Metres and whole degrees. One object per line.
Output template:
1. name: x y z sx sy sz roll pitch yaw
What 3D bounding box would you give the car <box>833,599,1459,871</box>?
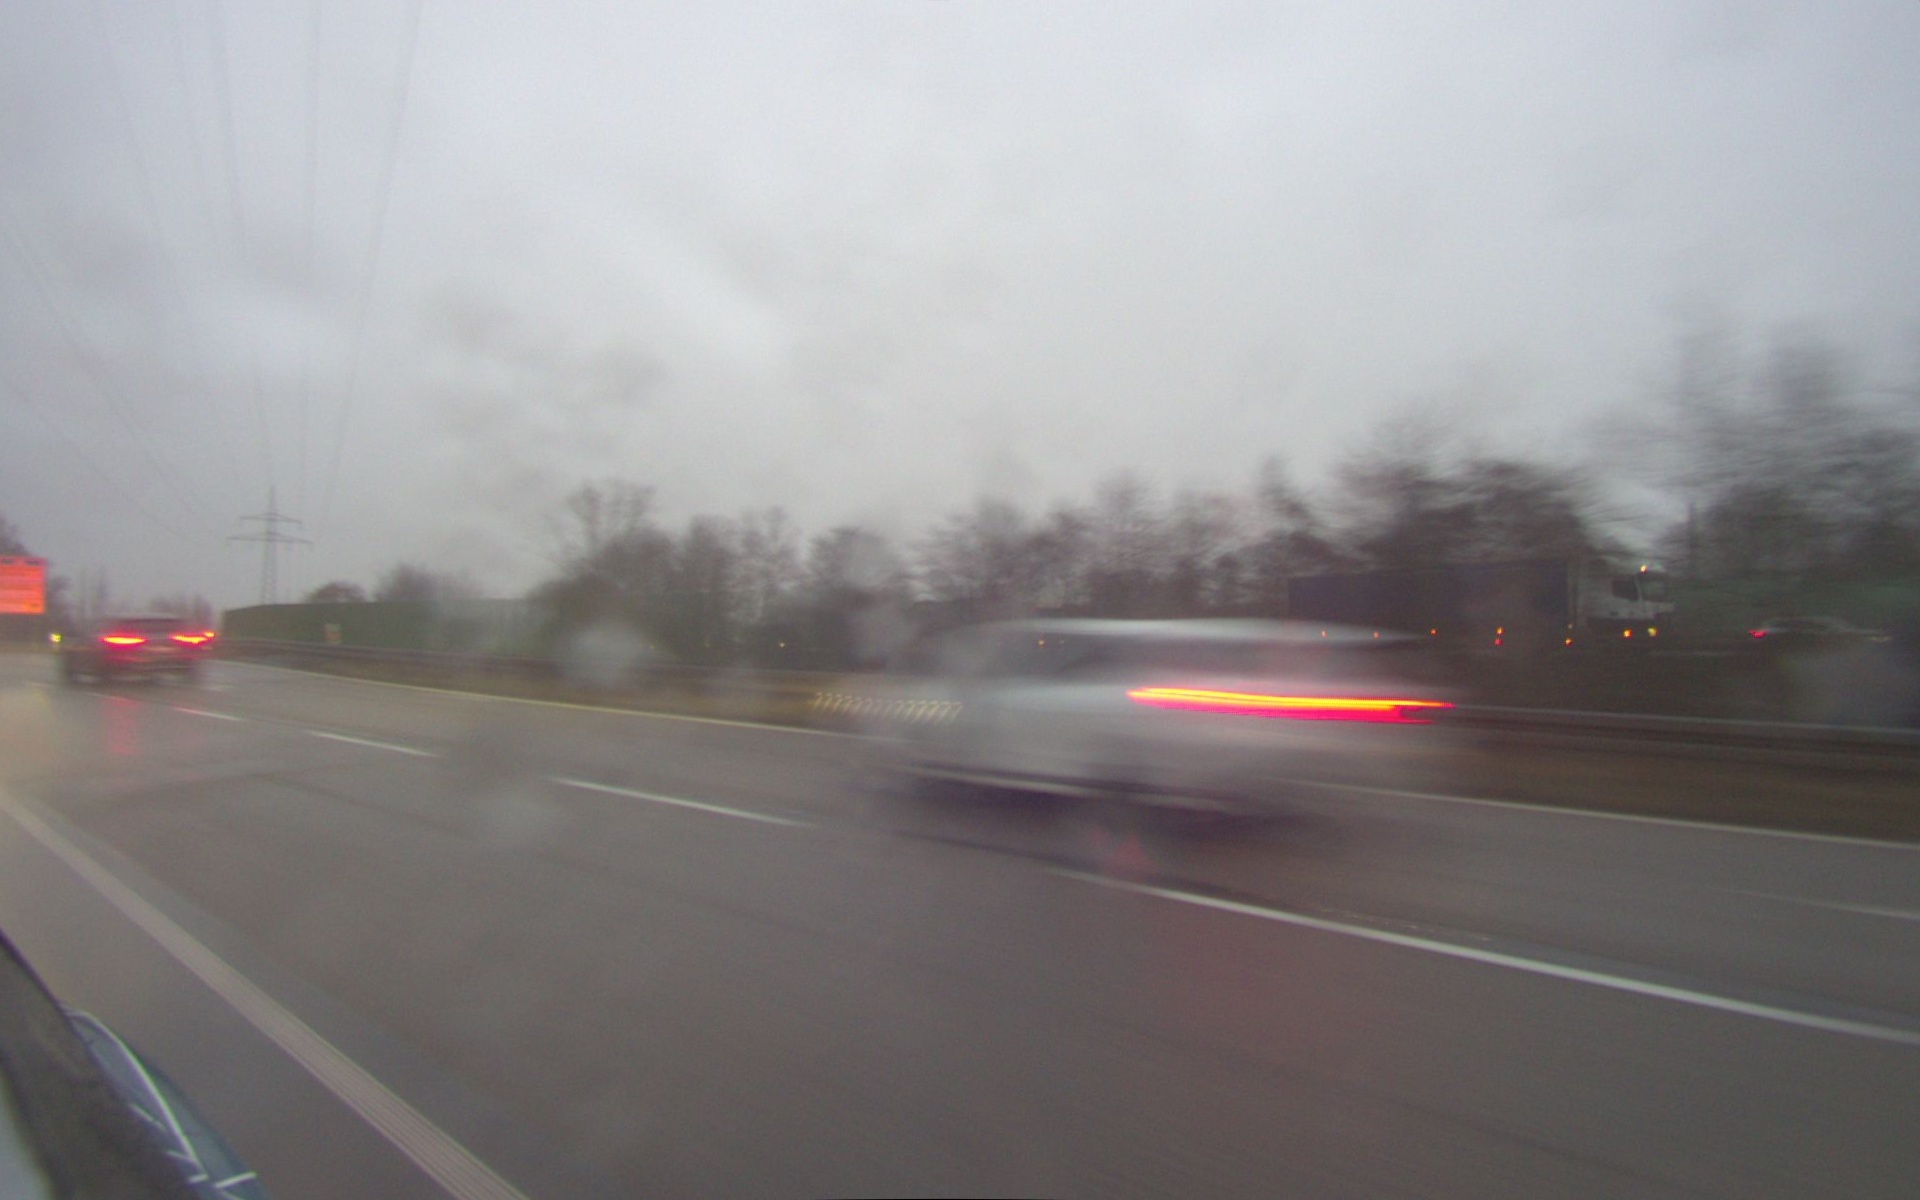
1. car: 1.210 0.778 7.807 4.381 1.501 1.972 -1 -1 42

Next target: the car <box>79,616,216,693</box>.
1. car: -19.016 1.192 23.622 4.381 1.602 1.868 -1 -1 43

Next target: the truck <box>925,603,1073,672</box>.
1. truck: 2.562 2.645 75.321 3.231 4.645 13.911 2 -1 -35

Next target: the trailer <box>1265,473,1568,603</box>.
1. trailer: 20.706 -2.503 47.455 3.257 5.142 13.265 2 -2 -33

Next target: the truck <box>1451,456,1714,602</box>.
1. truck: 24.944 -2.555 41.115 3.231 5.169 8.541 2 -2 -34
